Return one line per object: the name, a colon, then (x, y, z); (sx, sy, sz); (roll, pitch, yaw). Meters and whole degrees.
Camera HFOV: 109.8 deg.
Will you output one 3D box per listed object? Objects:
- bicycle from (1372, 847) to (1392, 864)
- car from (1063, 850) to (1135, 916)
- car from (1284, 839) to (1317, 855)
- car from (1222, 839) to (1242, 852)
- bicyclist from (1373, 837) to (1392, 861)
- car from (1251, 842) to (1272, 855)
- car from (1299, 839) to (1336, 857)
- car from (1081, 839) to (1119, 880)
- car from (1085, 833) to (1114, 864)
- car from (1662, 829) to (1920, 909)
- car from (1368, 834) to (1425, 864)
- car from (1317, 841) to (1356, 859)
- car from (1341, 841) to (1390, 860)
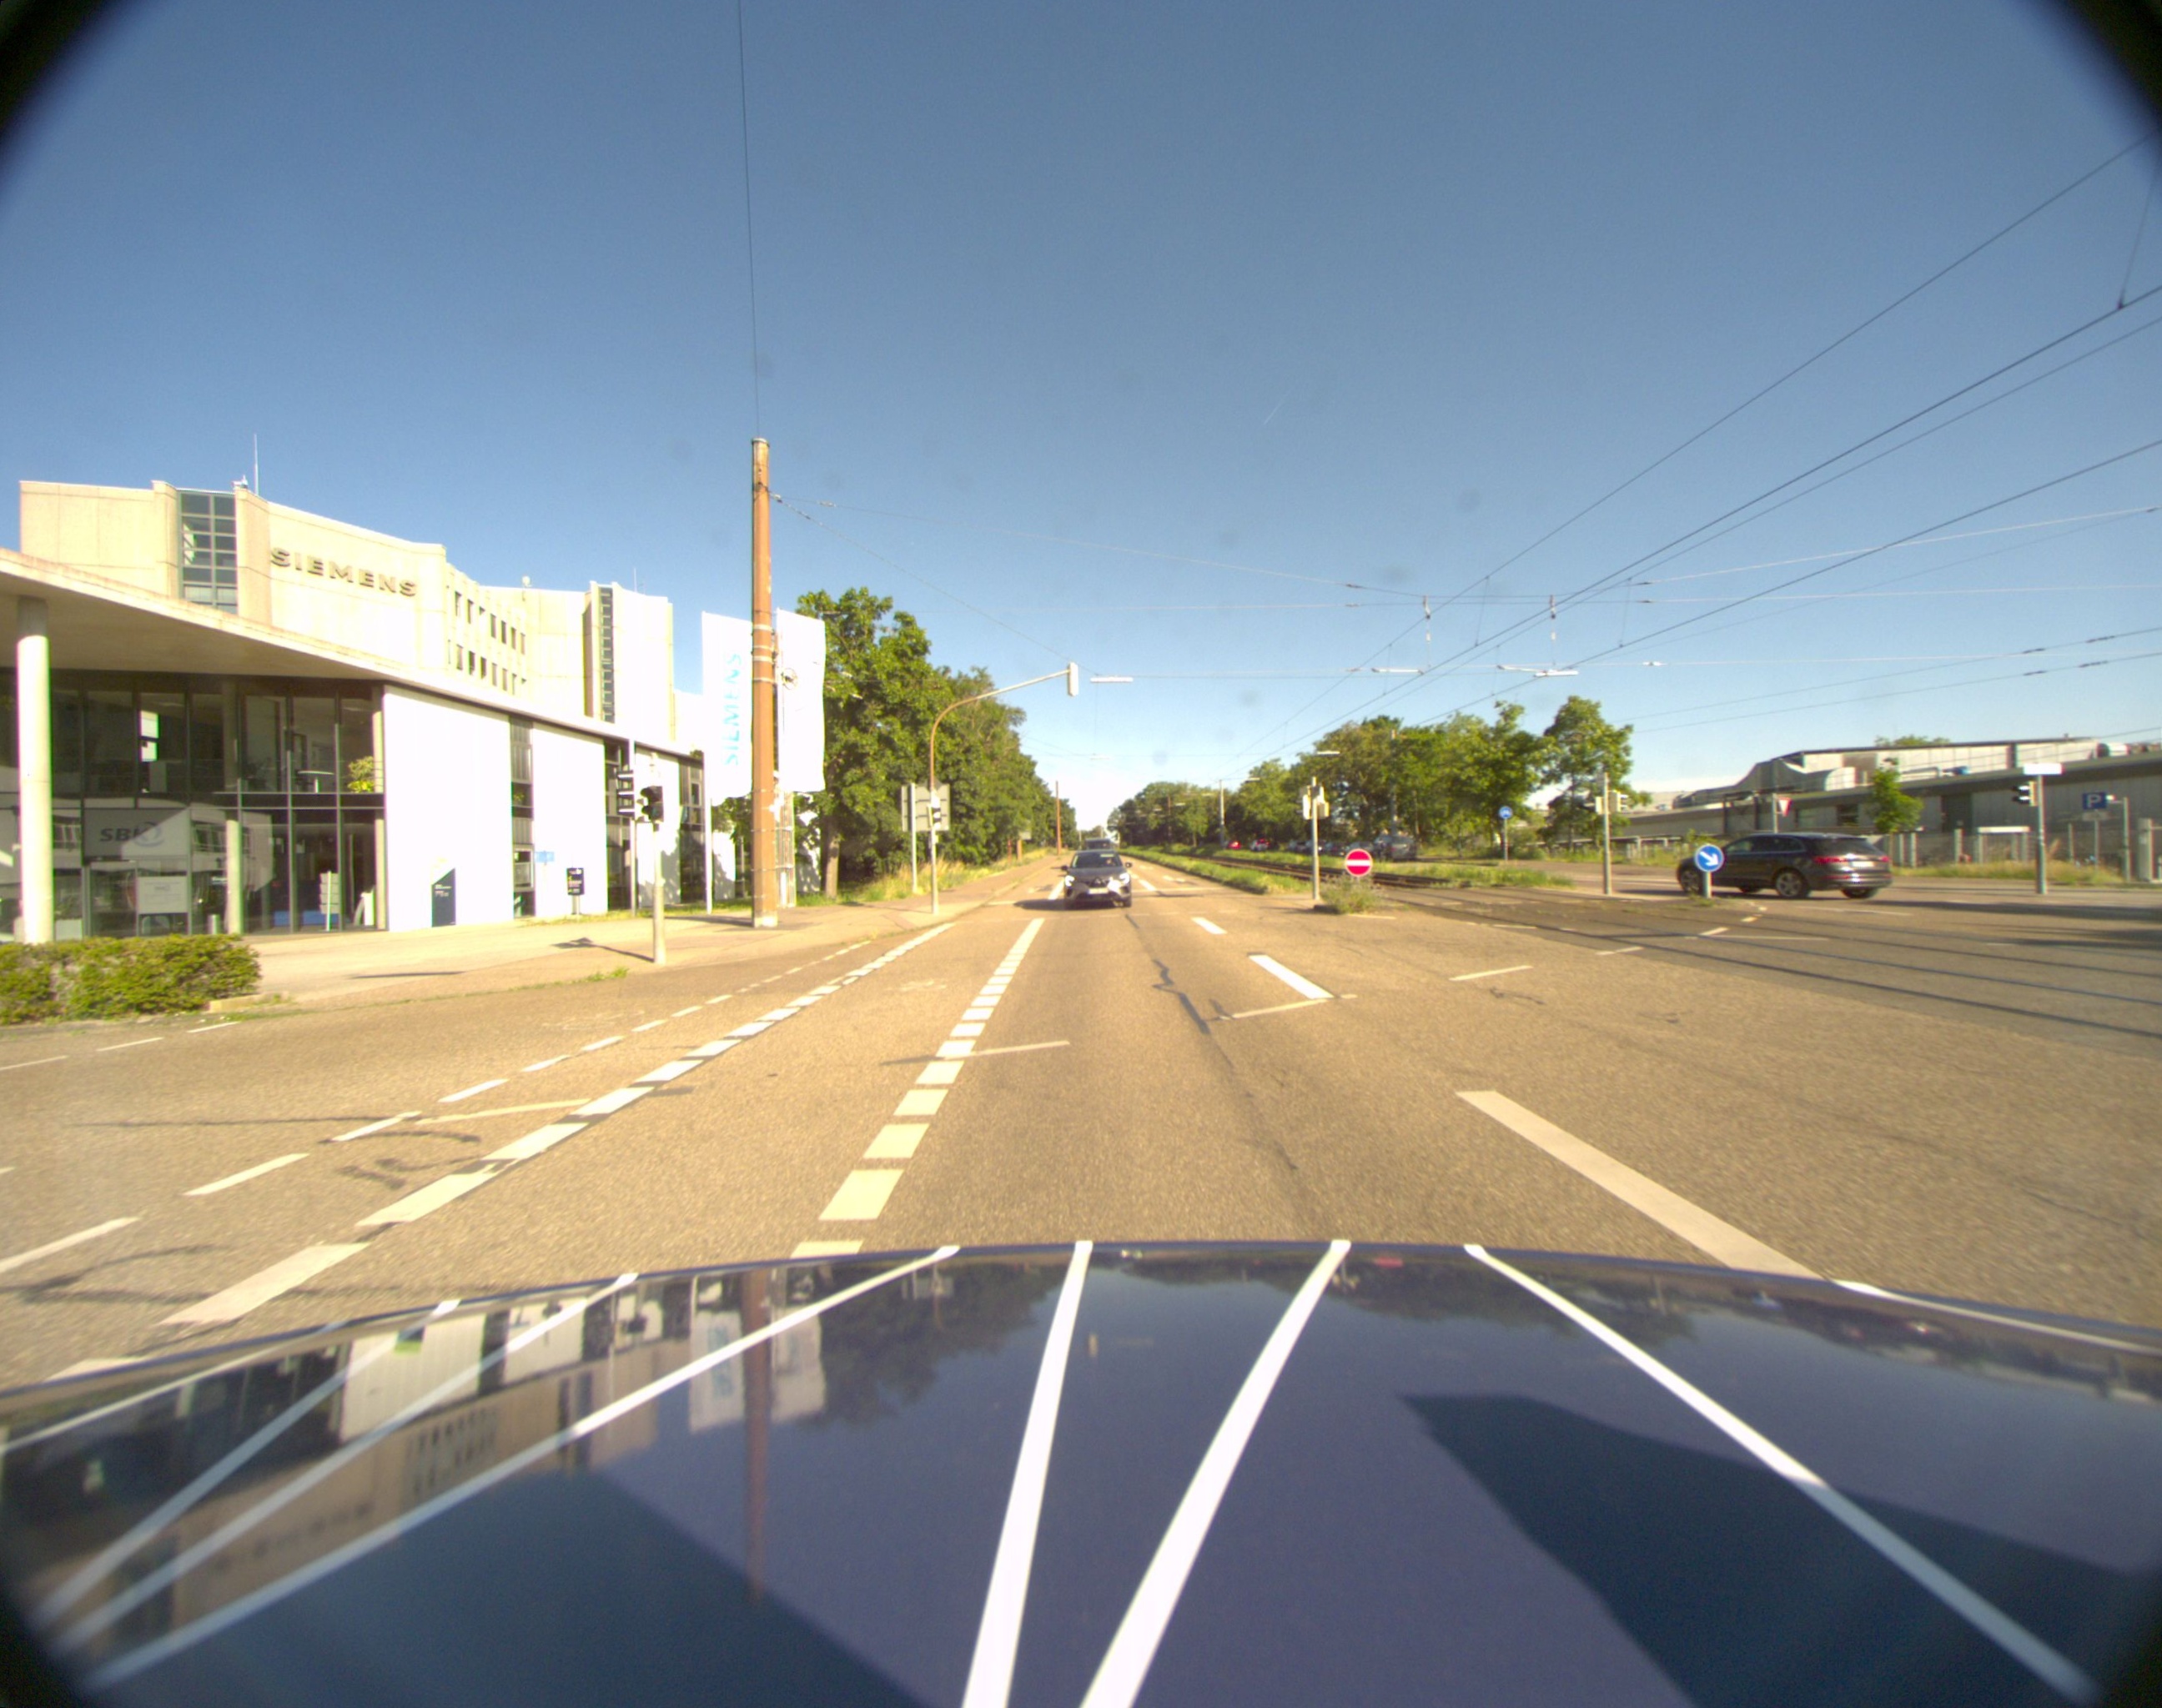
bicycle: (20.714, 0.101, 52.329); (0.698, 1.096, 1.781); (-2, 1, 2)
car: (0.446, 0.728, 21.707); (1.796, 1.584, 4.529); (-2, 1, -1)
car: (22.731, -0.684, 78.928); (2.130, 1.555, 4.560); (-2, 1, 1)
car: (22.432, -1.275, 112.982); (2.320, 1.723, 4.798); (-2, 1, 3)
bicyclist: (20.690, -0.342, 52.221); (0.804, 1.584, 1.236); (-2, 1, 2)
car: (22.680, -0.678, 95.646); (1.859, 1.549, 4.158); (-2, 1, 5)
car: (22.421, -0.579, 72.350); (2.130, 1.578, 4.616); (-2, 1, 1)
car: (1.065, 0.283, 43.014); (1.998, 2.113, 4.000); (-2, 1, 1)
car: (1.351, -0.400, 57.088); (1.999, 2.198, 4.786); (-1, 0, -1)
car: (17.916, 0.308, 19.604); (2.099, 1.800, 4.791); (1, 1, -1)
car: (22.179, -0.353, 53.595); (2.207, 1.923, 4.685); (-2, 1, 2)
car: (22.417, -0.360, 66.856); (1.960, 1.418, 4.488); (-2, 1, 2)
car: (22.567, -0.259, 60.462); (2.130, 1.372, 4.615); (-2, 1, 0)
